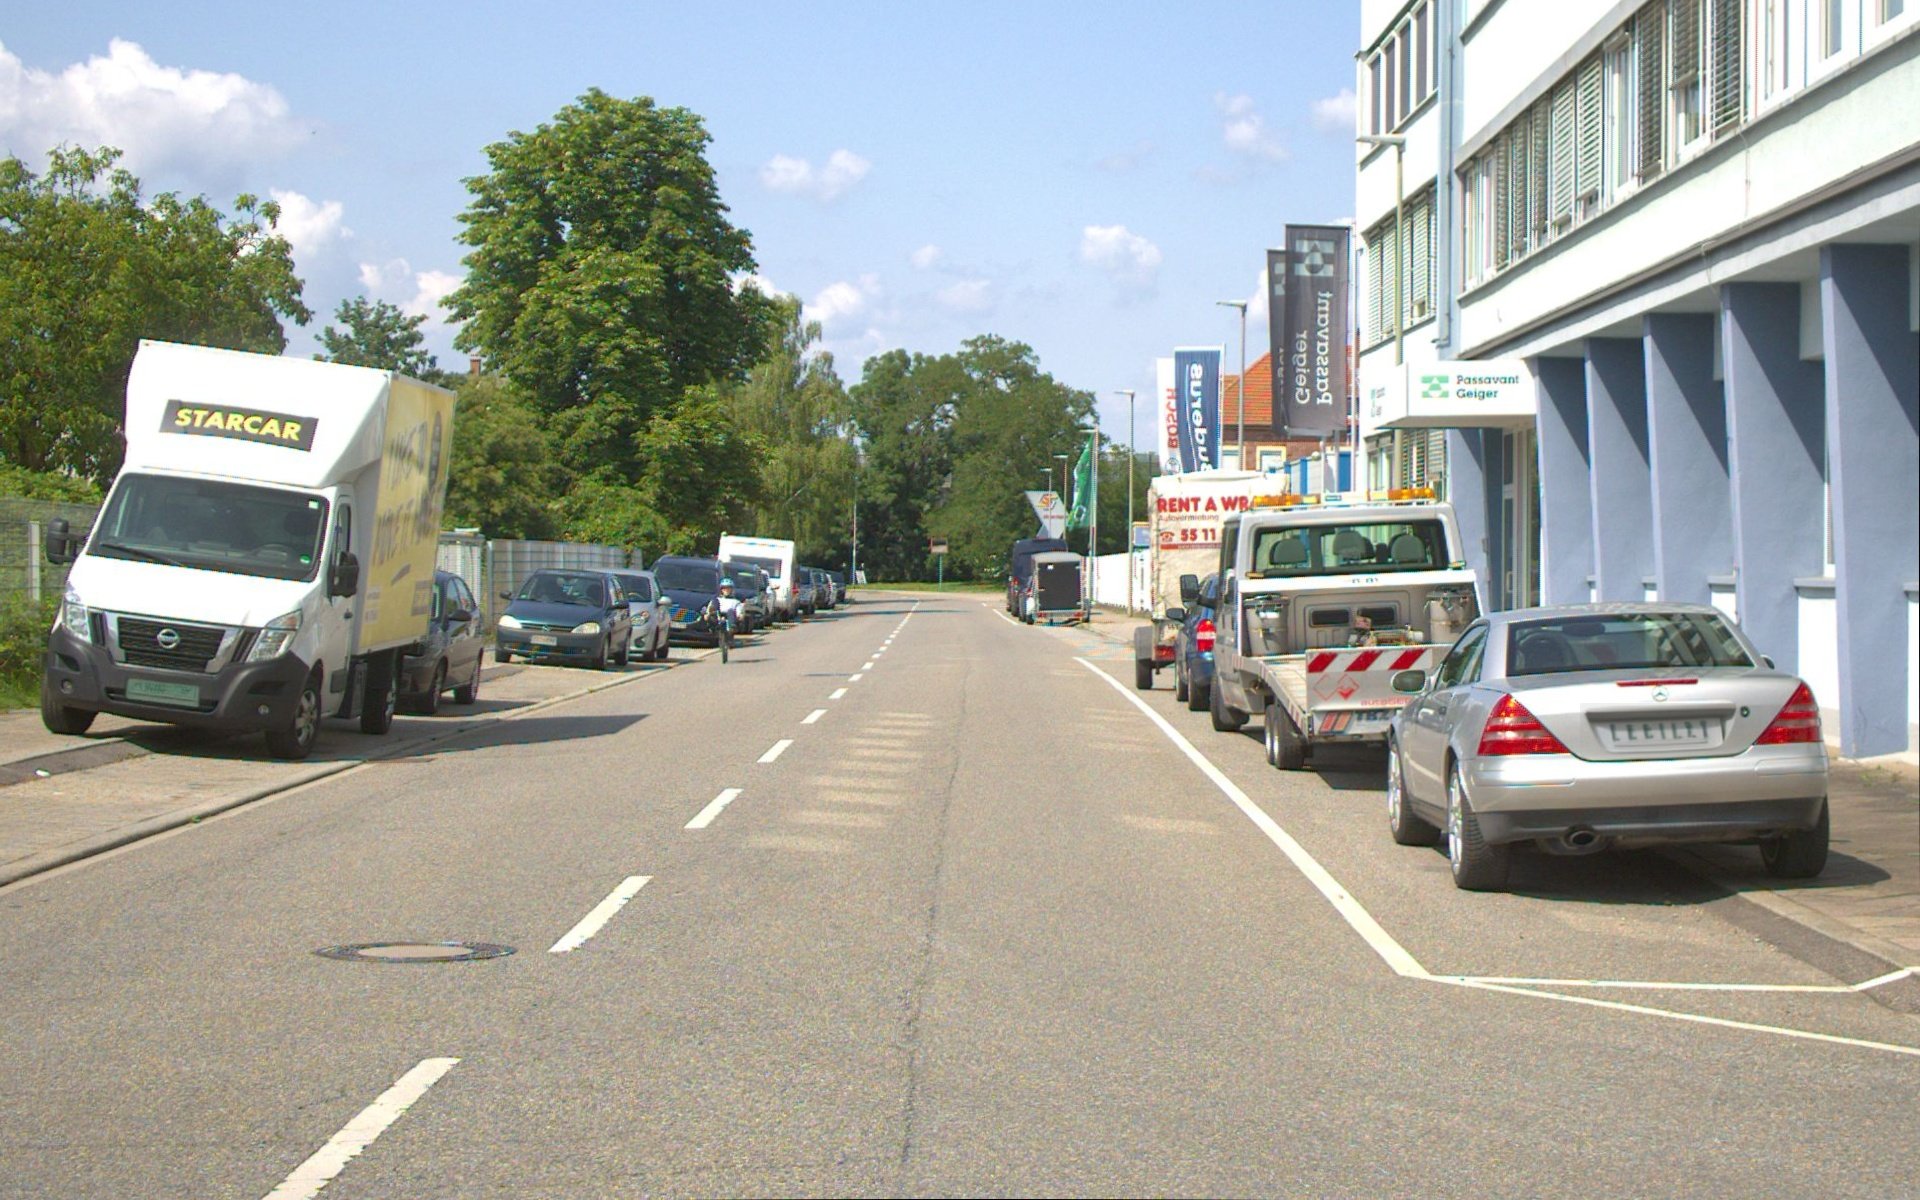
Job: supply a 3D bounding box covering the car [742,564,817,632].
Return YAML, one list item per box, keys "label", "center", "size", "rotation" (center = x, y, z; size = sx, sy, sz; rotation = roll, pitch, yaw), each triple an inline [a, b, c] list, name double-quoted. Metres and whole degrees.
- label: "car"
  center: [-4.847, -0.067, 92.689]
  size: [1.827, 1.787, 4.736]
  rotation: [1, 0, -1]

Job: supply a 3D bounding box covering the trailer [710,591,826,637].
- label: "trailer"
  center: [-4.656, 0.320, 84.391]
  size: [2.271, 0.880, 7.131]
  rotation: [5, 0, 1]

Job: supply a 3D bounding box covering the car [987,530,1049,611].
- label: "car"
  center: [2.008, -1.025, 121.273]
  size: [1.937, 2.739, 6.155]
  rotation: [1, 0, -1]

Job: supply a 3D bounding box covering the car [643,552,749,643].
- label: "car"
  center: [-5.277, -0.058, 69.235]
  size: [1.801, 1.744, 4.713]
  rotation: [1, 0, -1]

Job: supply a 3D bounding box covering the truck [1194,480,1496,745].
- label: "truck"
  center: [3.155, 0.078, 29.107]
  size: [1.964, 2.028, 4.734]
  rotation: [1, 0, 0]

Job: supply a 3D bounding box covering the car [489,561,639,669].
- label: "car"
  center: [-5.865, 0.197, 51.253]
  size: [1.569, 1.394, 3.798]
  rotation: [6, 1, 2]

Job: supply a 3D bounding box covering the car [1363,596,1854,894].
- label: "car"
  center: [3.089, 0.636, 17.128]
  size: [1.647, 1.242, 4.000]
  rotation: [1, 1, 0]

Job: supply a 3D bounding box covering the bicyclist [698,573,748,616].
- label: "bicyclist"
  center: [-3.780, -0.094, 54.855]
  size: [0.566, 0.629, 1.857]
  rotation: [2, 1, 3]

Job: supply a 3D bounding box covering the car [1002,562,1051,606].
- label: "car"
  center: [2.560, -0.627, 133.194]
  size: [1.825, 1.659, 4.556]
  rotation: [0, 0, 0]

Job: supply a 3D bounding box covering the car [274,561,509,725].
- label: "car"
  center: [-5.822, 0.407, 35.580]
  size: [1.619, 1.425, 3.826]
  rotation: [7, 0, 0]

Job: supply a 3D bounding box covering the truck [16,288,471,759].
- label: "truck"
  center: [-5.865, -0.624, 29.246]
  size: [2.250, 3.350, 6.907]
  rotation: [5, 1, -1]

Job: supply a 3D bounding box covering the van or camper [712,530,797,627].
- label: "van or camper"
  center: [-6.406, -0.671, 108.036]
  size: [2.262, 2.794, 6.834]
  rotation: [4, 0, -2]

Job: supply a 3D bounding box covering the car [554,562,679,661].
- label: "car"
  center: [-5.579, 0.167, 56.209]
  size: [1.615, 1.478, 3.710]
  rotation: [3, 0, 0]

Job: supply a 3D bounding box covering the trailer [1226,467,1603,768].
- label: "trailer"
  center: [3.218, 0.088, 25.544]
  size: [1.973, 1.964, 5.766]
  rotation: [1, 0, 0]

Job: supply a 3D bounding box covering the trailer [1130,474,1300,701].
- label: "trailer"
  center: [3.016, -0.164, 41.527]
  size: [1.869, 2.544, 5.071]
  rotation: [1, 0, 3]

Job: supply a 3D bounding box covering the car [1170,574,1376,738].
- label: "car"
  center: [3.181, 0.544, 35.655]
  size: [1.718, 1.537, 4.403]
  rotation: [2, 0, 1]

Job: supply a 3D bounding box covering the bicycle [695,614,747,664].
- label: "bicycle"
  center: [-3.800, 0.616, 54.866]
  size: [0.587, 0.739, 2.125]
  rotation: [1, 0, 2]

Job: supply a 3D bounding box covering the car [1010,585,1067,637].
- label: "car"
  center: [2.339, 0.306, 103.344]
  size: [1.572, 1.502, 4.133]
  rotation: [1, 0, -1]

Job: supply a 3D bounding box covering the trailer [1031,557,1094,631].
- label: "trailer"
  center: [2.878, -0.176, 97.206]
  size: [1.601, 2.030, 2.741]
  rotation: [2, 0, -1]
